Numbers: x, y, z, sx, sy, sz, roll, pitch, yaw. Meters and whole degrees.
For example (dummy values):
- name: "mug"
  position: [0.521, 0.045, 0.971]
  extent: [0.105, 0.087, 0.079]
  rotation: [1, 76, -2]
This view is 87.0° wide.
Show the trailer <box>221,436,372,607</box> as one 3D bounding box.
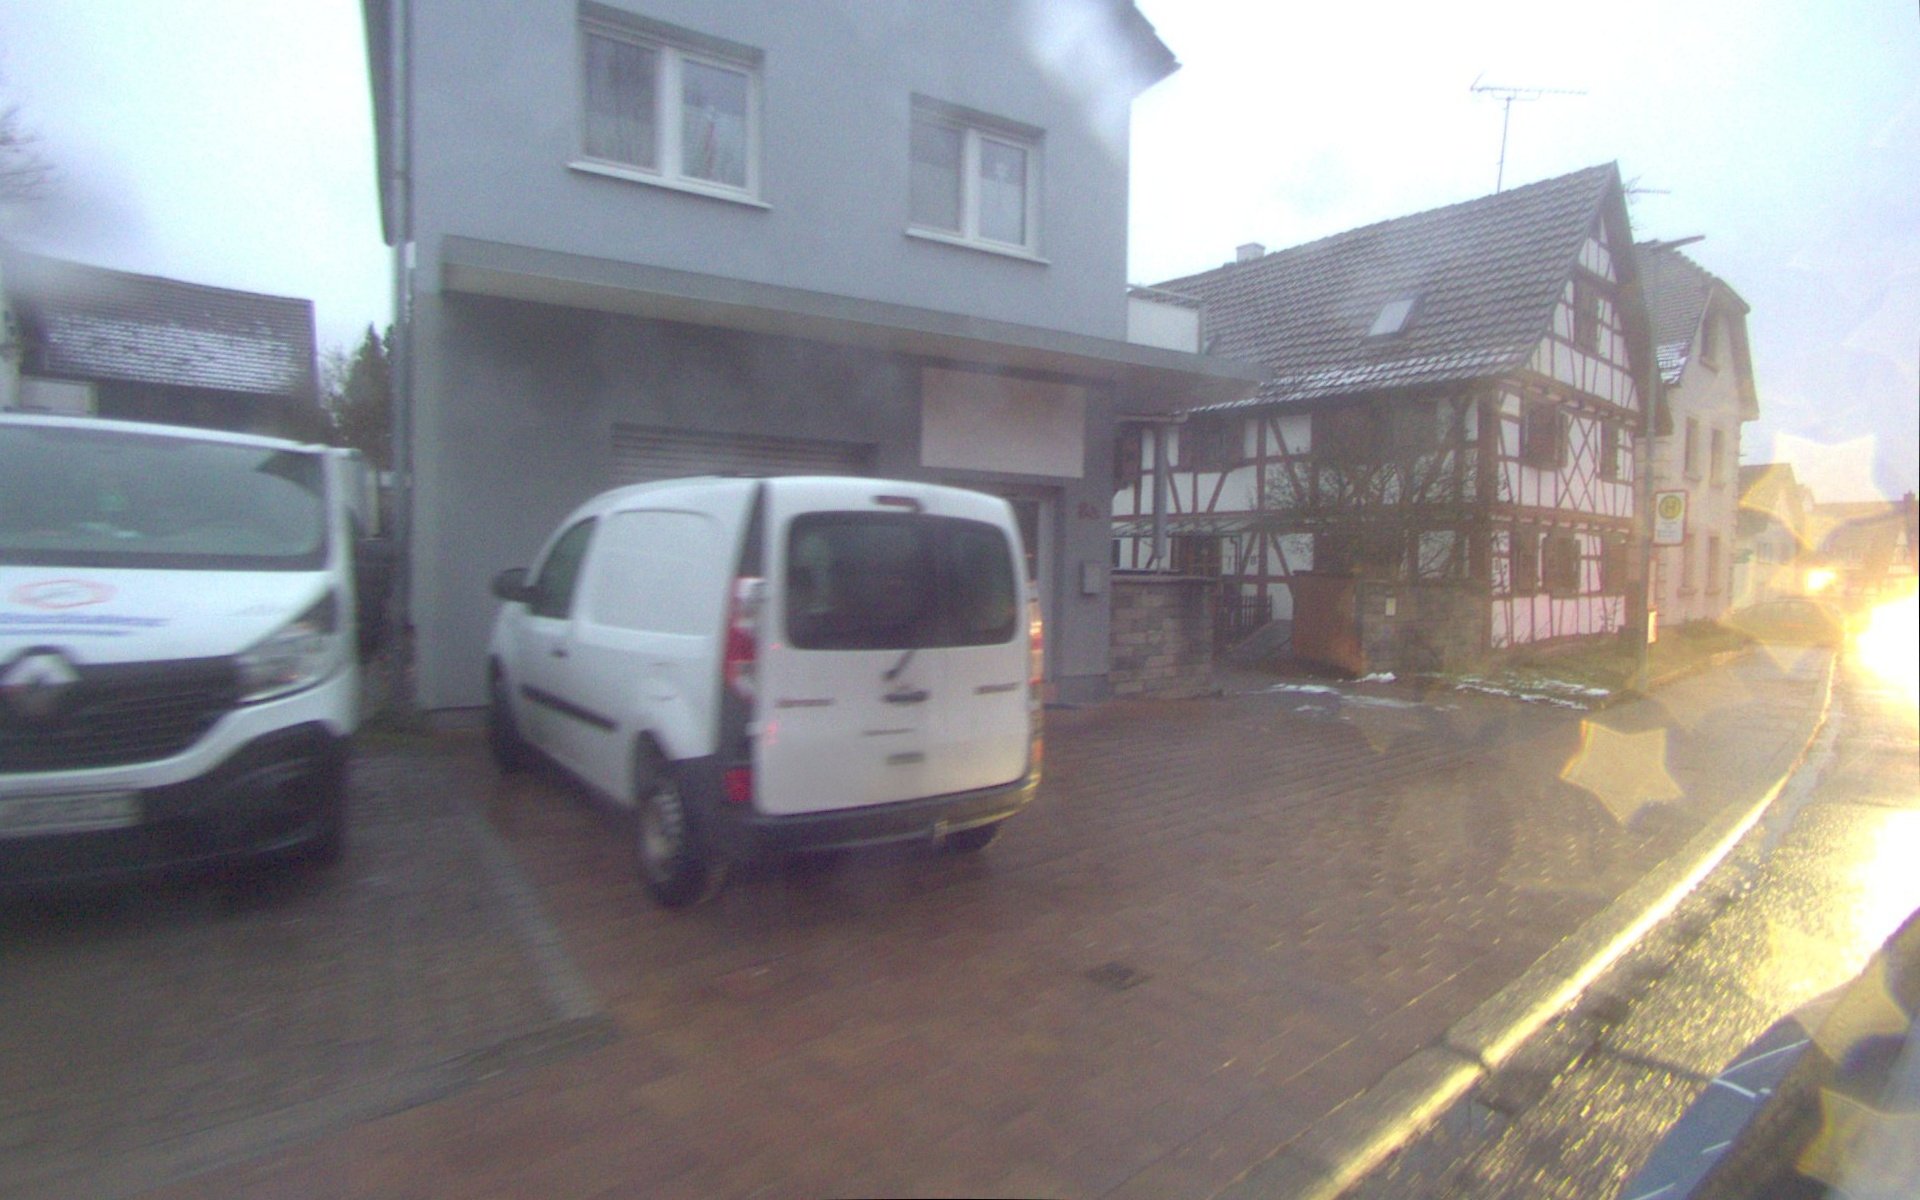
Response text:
- name: "trailer"
  position: [-11.155, -1.383, 17.267]
  extent: [1.802, 2.546, 4.010]
  rotation: [0, 6, -28]

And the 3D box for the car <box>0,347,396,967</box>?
- name: "car"
  position: [-4.234, 0.015, 5.247]
  extent: [1.899, 1.912, 5.002]
  rotation: [1, 3, -33]

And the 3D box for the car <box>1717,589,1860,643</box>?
- name: "car"
  position: [29.617, 0.526, 36.292]
  extent: [3.838, 1.647, 1.588]
  rotation: [4, 2, 40]

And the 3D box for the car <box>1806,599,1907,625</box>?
- name: "car"
  position: [46.789, 0.631, 52.880]
  extent: [3.880, 1.141, 1.526]
  rotation: [3, 2, 44]

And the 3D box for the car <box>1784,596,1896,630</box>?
- name: "car"
  position: [41.347, 0.603, 47.607]
  extent: [3.880, 1.384, 1.526]
  rotation: [3, 2, 44]

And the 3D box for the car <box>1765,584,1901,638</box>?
- name: "car"
  position: [34.012, 0.390, 39.583]
  extent: [3.873, 1.900, 1.843]
  rotation: [3, 2, 39]

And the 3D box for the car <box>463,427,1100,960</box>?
- name: "car"
  position: [-1.344, 0.192, 5.692]
  extent: [1.829, 1.865, 4.055]
  rotation: [0, 4, -38]

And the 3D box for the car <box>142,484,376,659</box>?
- name: "car"
  position: [-7.847, -0.429, 11.689]
  extent: [1.843, 1.641, 4.008]
  rotation: [1, 5, -29]
